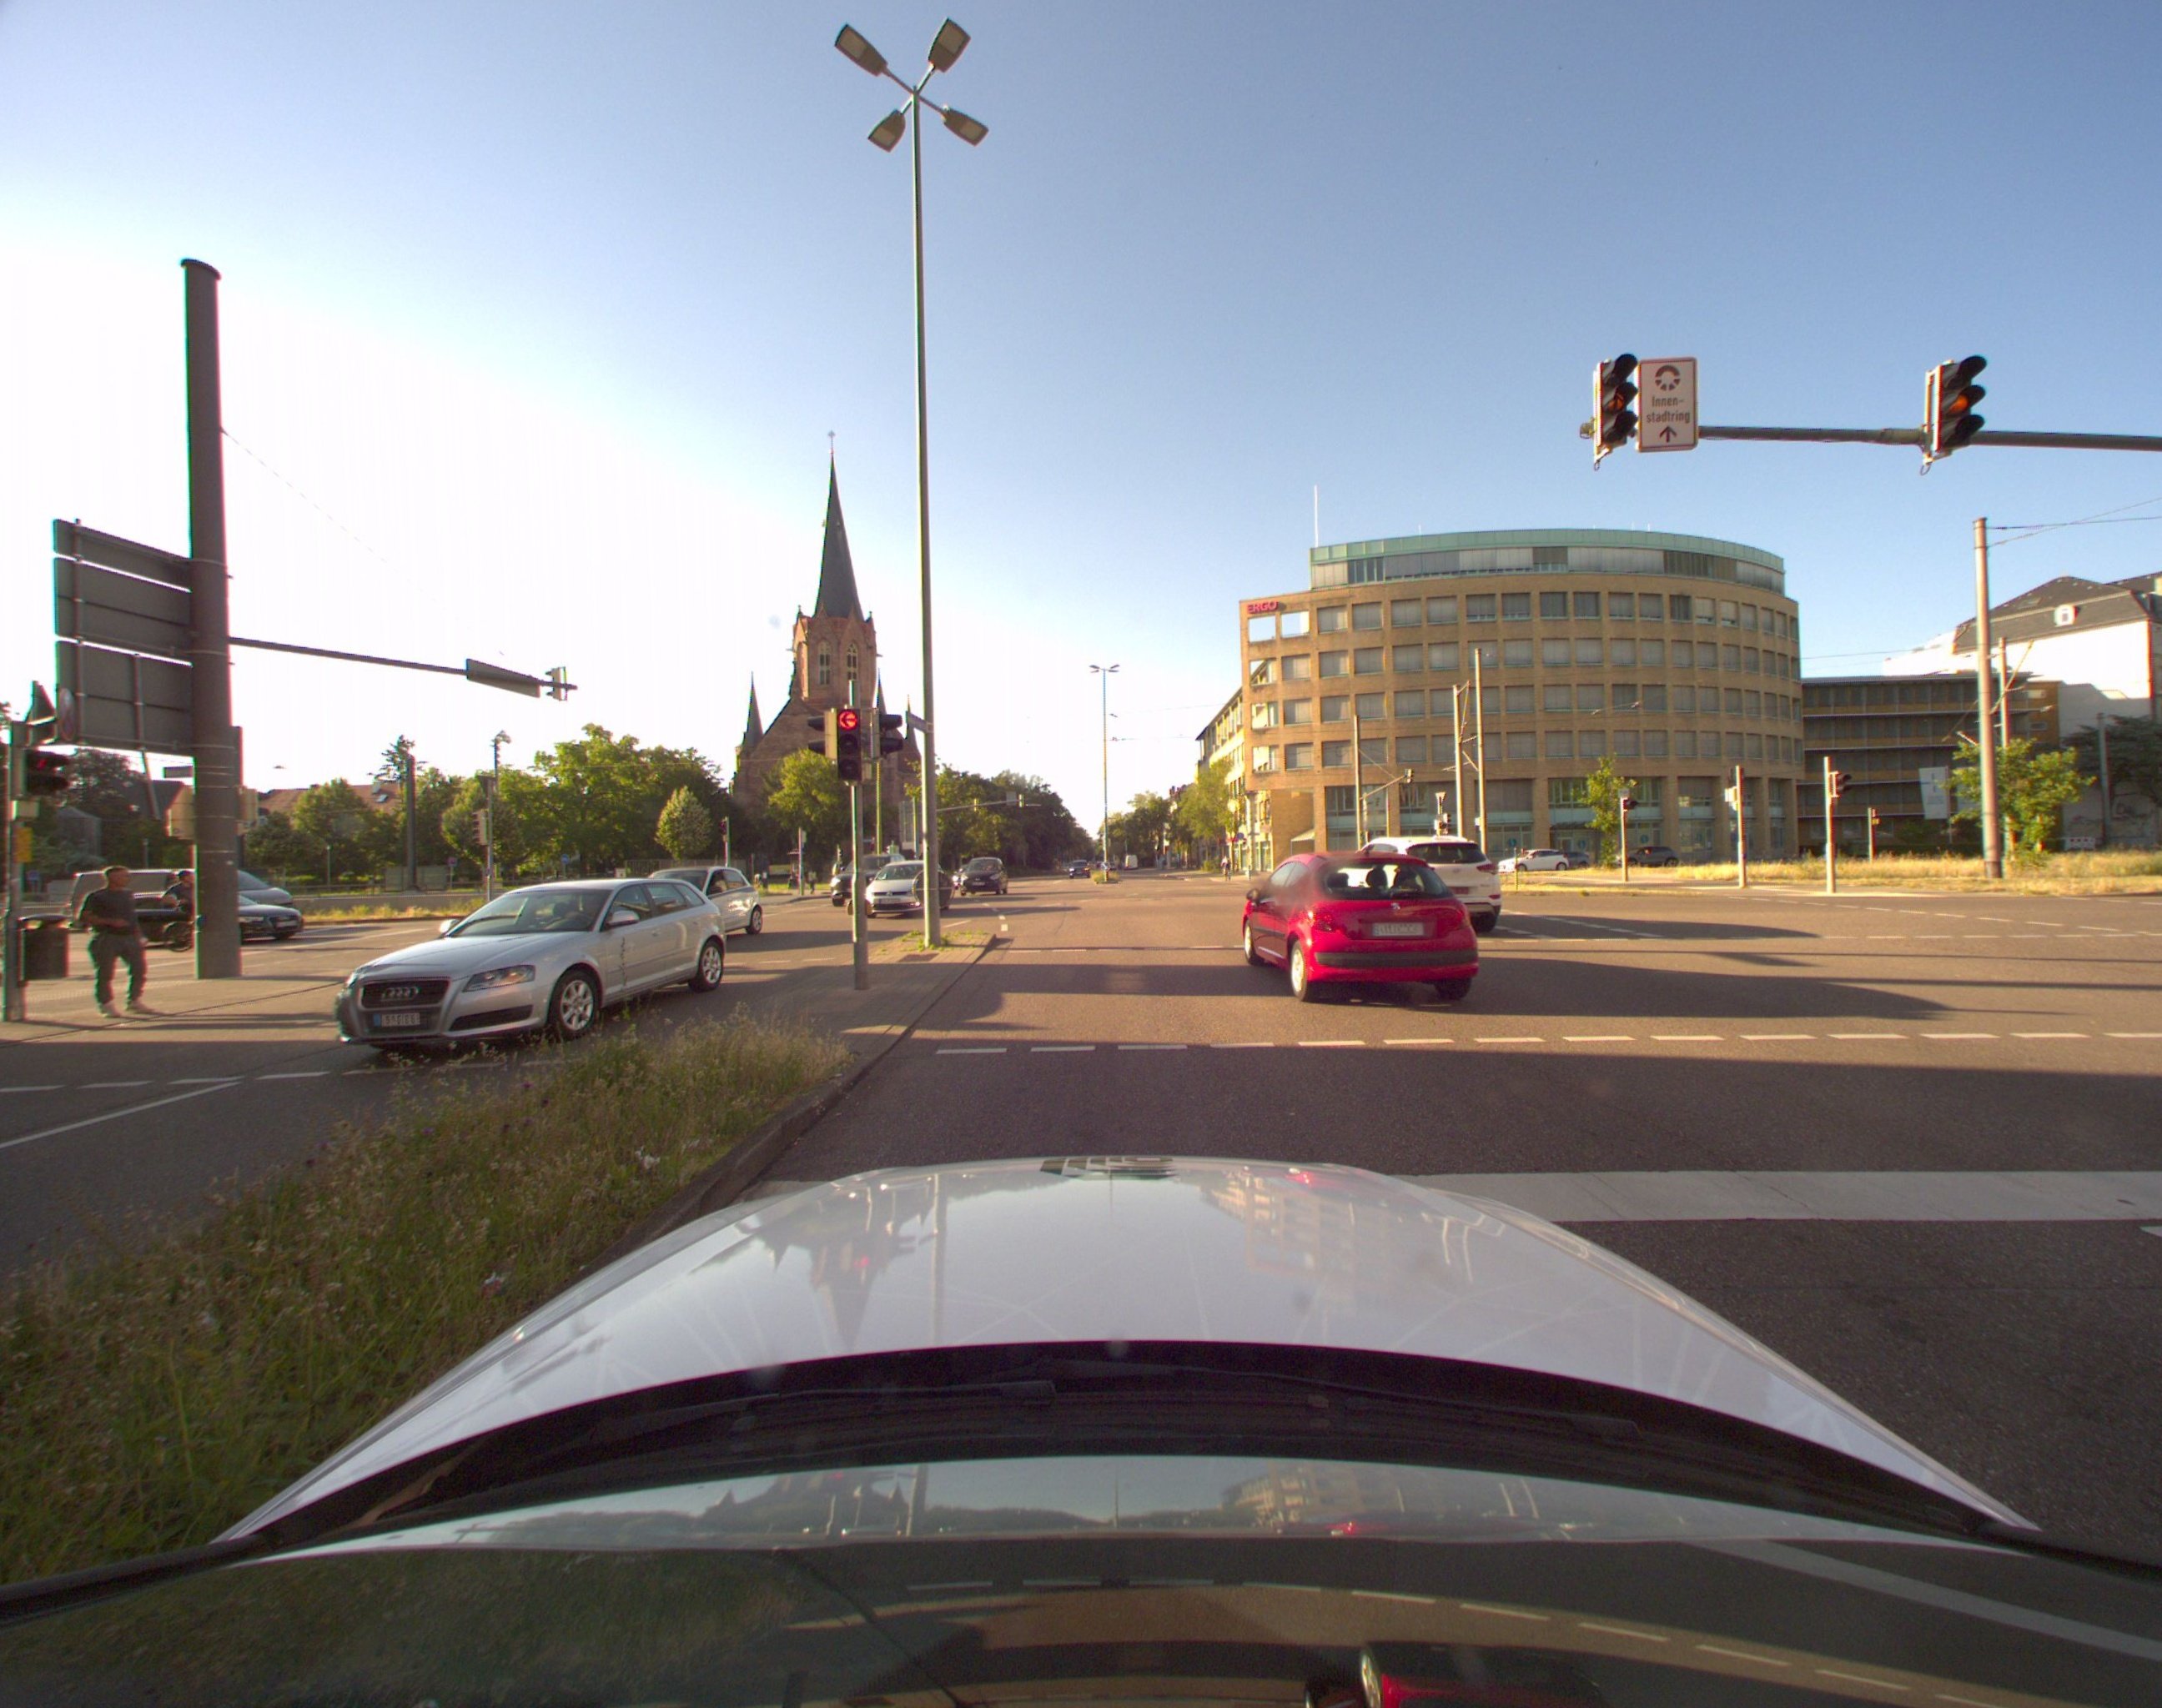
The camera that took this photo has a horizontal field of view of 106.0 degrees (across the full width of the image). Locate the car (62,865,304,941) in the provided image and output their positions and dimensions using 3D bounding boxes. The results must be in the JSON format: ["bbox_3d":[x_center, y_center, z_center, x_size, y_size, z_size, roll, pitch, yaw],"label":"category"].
[{"bbox_3d":[-26.755,1.420,24.414,4.908,2.014,1.999,-2,-1,-1],"label":"car"}]

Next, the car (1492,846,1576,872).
[{"bbox_3d":[28.338,0.322,51.035,4.150,1.492,1.994,-2,-1,-1],"label":"car"}]

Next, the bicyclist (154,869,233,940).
[{"bbox_3d":[-21.066,1.177,19.342,0.733,1.598,0.963,-3,0,1],"label":"bicyclist"}]

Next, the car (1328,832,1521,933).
[{"bbox_3d":[6.136,0.473,15.157,1.909,1.607,4.271,0,-1,2],"label":"car"}]

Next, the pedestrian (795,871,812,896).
[{"bbox_3d":[-19.189,2.022,56.306,0.849,1.696,1.005,0,-1,-41],"label":"pedestrian"}]

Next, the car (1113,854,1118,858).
[{"bbox_3d":[10.698,0.712,255.053,1.588,1.267,3.268,-2,0,2],"label":"car"}]

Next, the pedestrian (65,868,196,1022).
[{"bbox_3d":[-11.681,1.082,10.039,0.605,1.787,0.813,1,0,5],"label":"pedestrian"}]

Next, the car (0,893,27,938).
[{"bbox_3d":[-35.092,1.954,24.665,3.889,1.374,1.800,-2,-1,-1],"label":"car"}]

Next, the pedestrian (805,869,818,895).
[{"bbox_3d":[-17.800,1.863,53.842,0.711,1.696,0.888,0,-1,-26],"label":"pedestrian"}]

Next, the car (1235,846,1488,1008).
[{"bbox_3d":[2.936,0.683,9.437,1.663,1.462,4.001,0,-1,2],"label":"car"}]

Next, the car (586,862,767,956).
[{"bbox_3d":[-7.956,1.005,16.425,1.669,1.544,3.639,-3,0,1],"label":"car"}]

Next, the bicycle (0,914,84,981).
[{"bbox_3d":[-18.748,1.639,13.842,0.732,1.051,2.300,-2,0,1],"label":"bicycle"}]

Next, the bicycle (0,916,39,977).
[{"bbox_3d":[-19.553,1.660,13.820,0.732,1.051,2.300,-2,-1,1],"label":"bicycle"}]

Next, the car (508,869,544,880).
[{"bbox_3d":[-91.775,3.392,134.817,4.450,1.571,1.993,-2,-1,-10],"label":"car"}]

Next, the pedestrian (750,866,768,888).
[{"bbox_3d":[-25.443,1.789,64.436,1.005,1.696,0.849,-1,-1,20],"label":"pedestrian"}]

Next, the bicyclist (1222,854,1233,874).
[{"bbox_3d":[9.845,0.677,54.779,0.590,1.369,0.930,0,-2,2],"label":"bicyclist"}]

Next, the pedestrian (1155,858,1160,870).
[{"bbox_3d":[12.273,1.624,130.660,0.844,1.803,0.776,-2,0,1],"label":"pedestrian"}]

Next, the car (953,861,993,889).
[{"bbox_3d":[-6.765,1.289,51.380,1.788,1.565,4.148,-2,1,1],"label":"car"}]

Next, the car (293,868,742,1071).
[{"bbox_3d":[-5.314,0.950,8.495,1.702,1.425,4.103,-3,0,1],"label":"car"}]

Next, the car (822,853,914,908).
[{"bbox_3d":[-7.475,0.872,29.134,1.809,1.711,4.788,-3,0,2],"label":"car"}]

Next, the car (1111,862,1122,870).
[{"bbox_3d":[5.569,1.874,127.415,1.588,1.267,3.268,-2,0,2],"label":"car"}]

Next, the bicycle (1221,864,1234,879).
[{"bbox_3d":[9.867,1.189,54.972,0.590,0.943,1.979,0,-1,2],"label":"bicycle"}]

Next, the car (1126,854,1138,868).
[{"bbox_3d":[9.095,1.245,144.547,1.986,2.440,4.002,0,-1,2],"label":"car"}]

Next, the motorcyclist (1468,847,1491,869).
[{"bbox_3d":[27.439,0.280,56.091,1.061,1.435,1.032,-2,-1,1],"label":"motorcyclist"}]

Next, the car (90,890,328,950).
[{"bbox_3d":[-22.651,1.695,21.287,4.175,1.312,1.800,-2,-1,-1],"label":"car"}]

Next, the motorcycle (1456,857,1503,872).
[{"bbox_3d":[27.438,0.747,56.082,2.708,0.964,1.032,-2,-1,0],"label":"motorcycle"}]

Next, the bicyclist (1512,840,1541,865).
[{"bbox_3d":[29.249,-0.097,53.497,1.219,1.572,1.154,-2,-1,0],"label":"bicyclist"}]

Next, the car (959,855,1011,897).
[{"bbox_3d":[-3.908,0.855,33.603,1.572,1.544,3.478,-3,0,1],"label":"car"}]

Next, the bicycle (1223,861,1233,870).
[{"bbox_3d":[15.310,1.195,84.672,0.644,0.994,2.081,-2,-1,1],"label":"bicycle"}]

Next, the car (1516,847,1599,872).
[{"bbox_3d":[32.744,0.375,56.061,4.464,1.537,1.987,-2,-1,2],"label":"car"}]

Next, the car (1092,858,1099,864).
[{"bbox_3d":[4.519,2.214,251.290,1.879,1.671,4.002,0,-1,2],"label":"car"}]

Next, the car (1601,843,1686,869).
[{"bbox_3d":[35.216,0.133,51.025,4.038,1.492,1.820,-2,-1,0],"label":"car"}]

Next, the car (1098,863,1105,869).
[{"bbox_3d":[5.241,3.040,205.175,1.588,1.267,3.268,-2,0,2],"label":"car"}]

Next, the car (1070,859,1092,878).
[{"bbox_3d":[0.002,1.444,79.516,1.986,1.724,5.031,-2,-1,1],"label":"car"}]

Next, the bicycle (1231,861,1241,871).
[{"bbox_3d":[15.200,1.155,79.930,0.644,0.994,2.081,-2,-1,1],"label":"bicycle"}]

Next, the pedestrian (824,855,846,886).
[{"bbox_3d":[-13.913,0.935,46.132,0.962,1.739,0.812,-1,-1,0],"label":"pedestrian"}]

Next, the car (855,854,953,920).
[{"bbox_3d":[-4.724,0.834,22.236,1.669,1.544,3.807,-3,0,2],"label":"car"}]

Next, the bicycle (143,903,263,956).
[{"bbox_3d":[-20.816,1.781,19.342,1.770,1.097,0.952,-3,0,1],"label":"bicycle"}]
